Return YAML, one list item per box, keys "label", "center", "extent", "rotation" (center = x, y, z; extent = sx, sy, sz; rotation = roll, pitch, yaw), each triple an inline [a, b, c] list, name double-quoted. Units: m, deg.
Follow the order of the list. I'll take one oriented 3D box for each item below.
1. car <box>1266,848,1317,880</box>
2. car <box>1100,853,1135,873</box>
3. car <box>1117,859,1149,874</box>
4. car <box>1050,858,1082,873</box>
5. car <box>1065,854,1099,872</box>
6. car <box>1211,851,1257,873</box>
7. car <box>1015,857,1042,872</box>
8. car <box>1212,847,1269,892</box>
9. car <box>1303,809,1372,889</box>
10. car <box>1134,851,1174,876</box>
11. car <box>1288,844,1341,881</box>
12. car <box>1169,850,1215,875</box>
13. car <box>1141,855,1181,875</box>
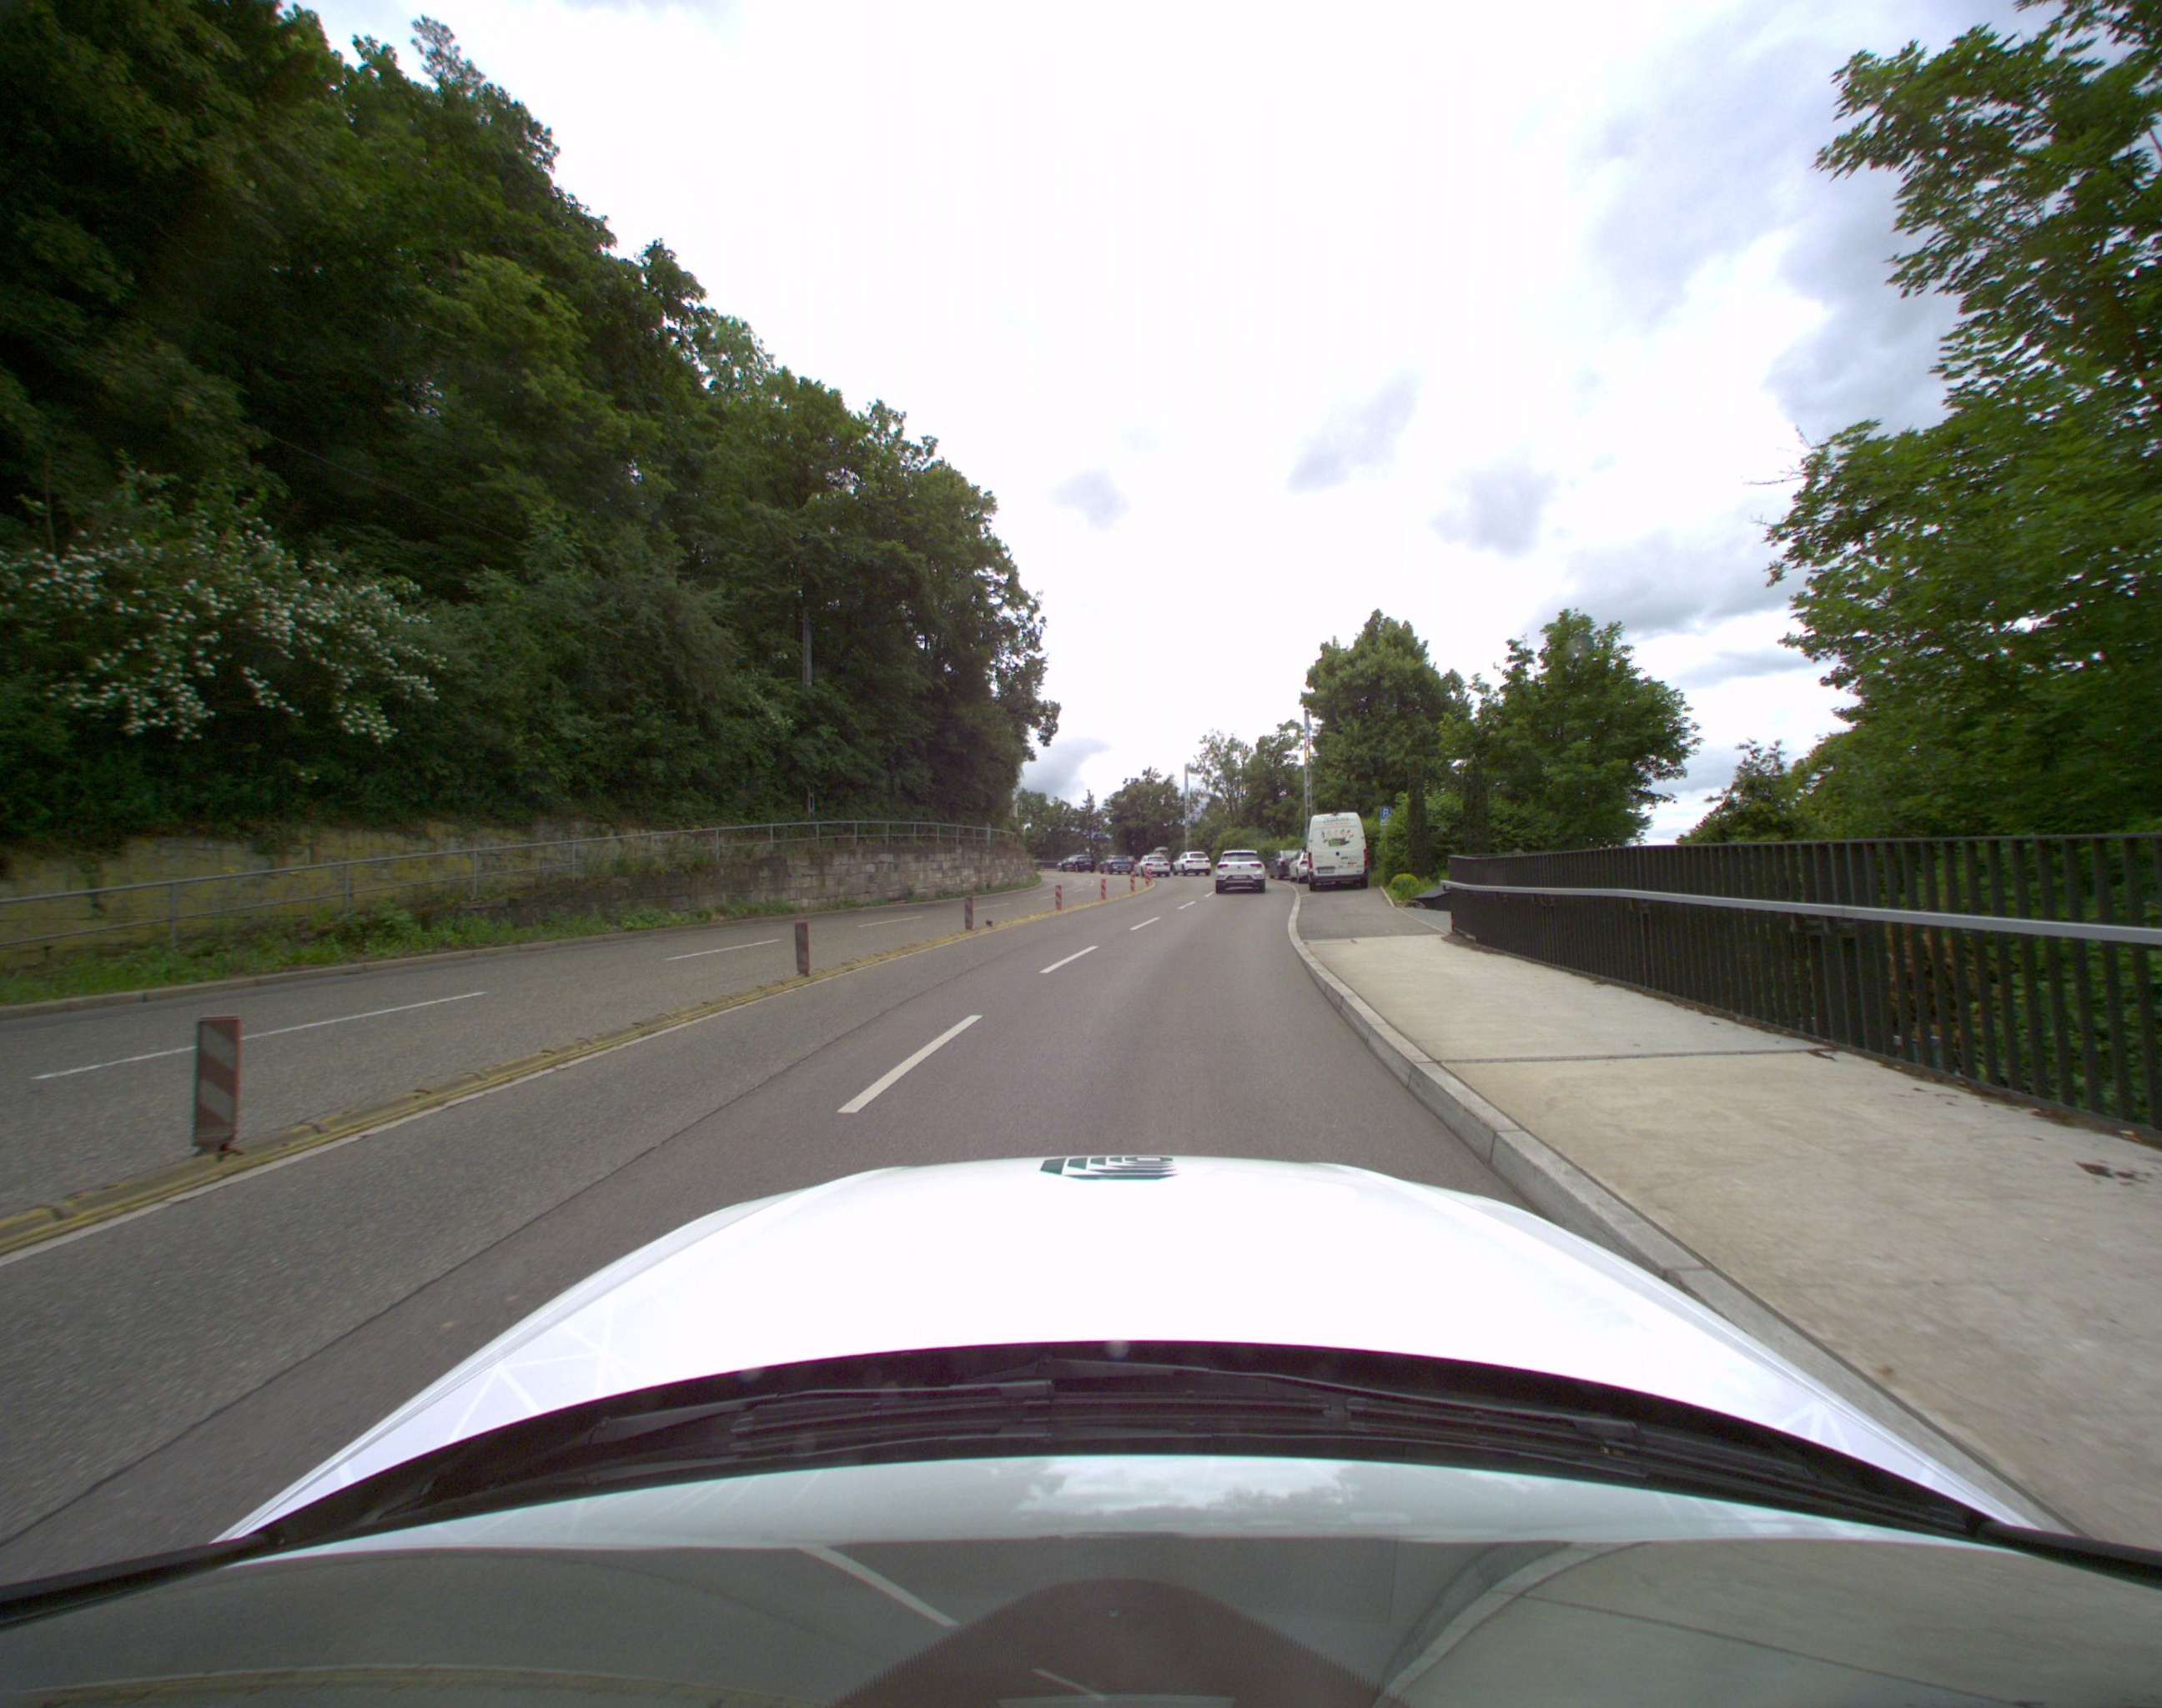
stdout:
- label: "car"
  center: [10.387, 0.470, 40.525]
  extent: [1.692, 1.464, 4.670]
  rotation: [-2, 0, 5]
- label: "car"
  center: [2.974, 0.782, 66.977]
  extent: [1.995, 1.541, 3.993]
  rotation: [2, -1, -12]
- label: "car"
  center: [5.038, 1.230, 79.458]
  extent: [1.665, 1.487, 4.008]
  rotation: [1, -1, -19]
- label: "car"
  center: [-1.622, 1.191, 85.511]
  extent: [1.835, 1.523, 3.964]
  rotation: [2, -2, -27]
- label: "car"
  center: [0.065, 0.856, 76.906]
  extent: [1.822, 1.690, 3.970]
  rotation: [2, -1, -22]
- label: "car"
  center: [10.740, 0.577, 57.563]
  extent: [1.778, 1.418, 3.983]
  rotation: [-2, -1, -12]
- label: "car"
  center: [-6.080, 1.201, 93.823]
  extent: [1.896, 1.611, 3.971]
  rotation: [2, -1, -22]
- label: "car"
  center: [6.015, 0.559, 30.415]
  extent: [1.853, 1.536, 3.818]
  rotation: [0, -1, 15]
- label: "car"
  center: [9.283, -0.146, 29.865]
  extent: [2.069, 2.523, 5.868]
  rotation: [-3, -1, 15]
- label: "car"
  center: [4.874, 0.681, 55.115]
  extent: [1.904, 1.574, 3.990]
  rotation: [2, -1, -7]
- label: "car"
  center: [10.114, 0.352, 35.493]
  extent: [1.691, 1.464, 3.844]
  rotation: [-2, -1, 8]
- label: "car"
  center: [7.626, 0.601, 56.349]
  extent: [1.994, 1.586, 3.986]
  rotation: [2, -1, -10]
- label: "car"
  center: [7.240, 1.003, 73.888]
  extent: [1.804, 1.772, 4.576]
  rotation: [1, -1, -20]
